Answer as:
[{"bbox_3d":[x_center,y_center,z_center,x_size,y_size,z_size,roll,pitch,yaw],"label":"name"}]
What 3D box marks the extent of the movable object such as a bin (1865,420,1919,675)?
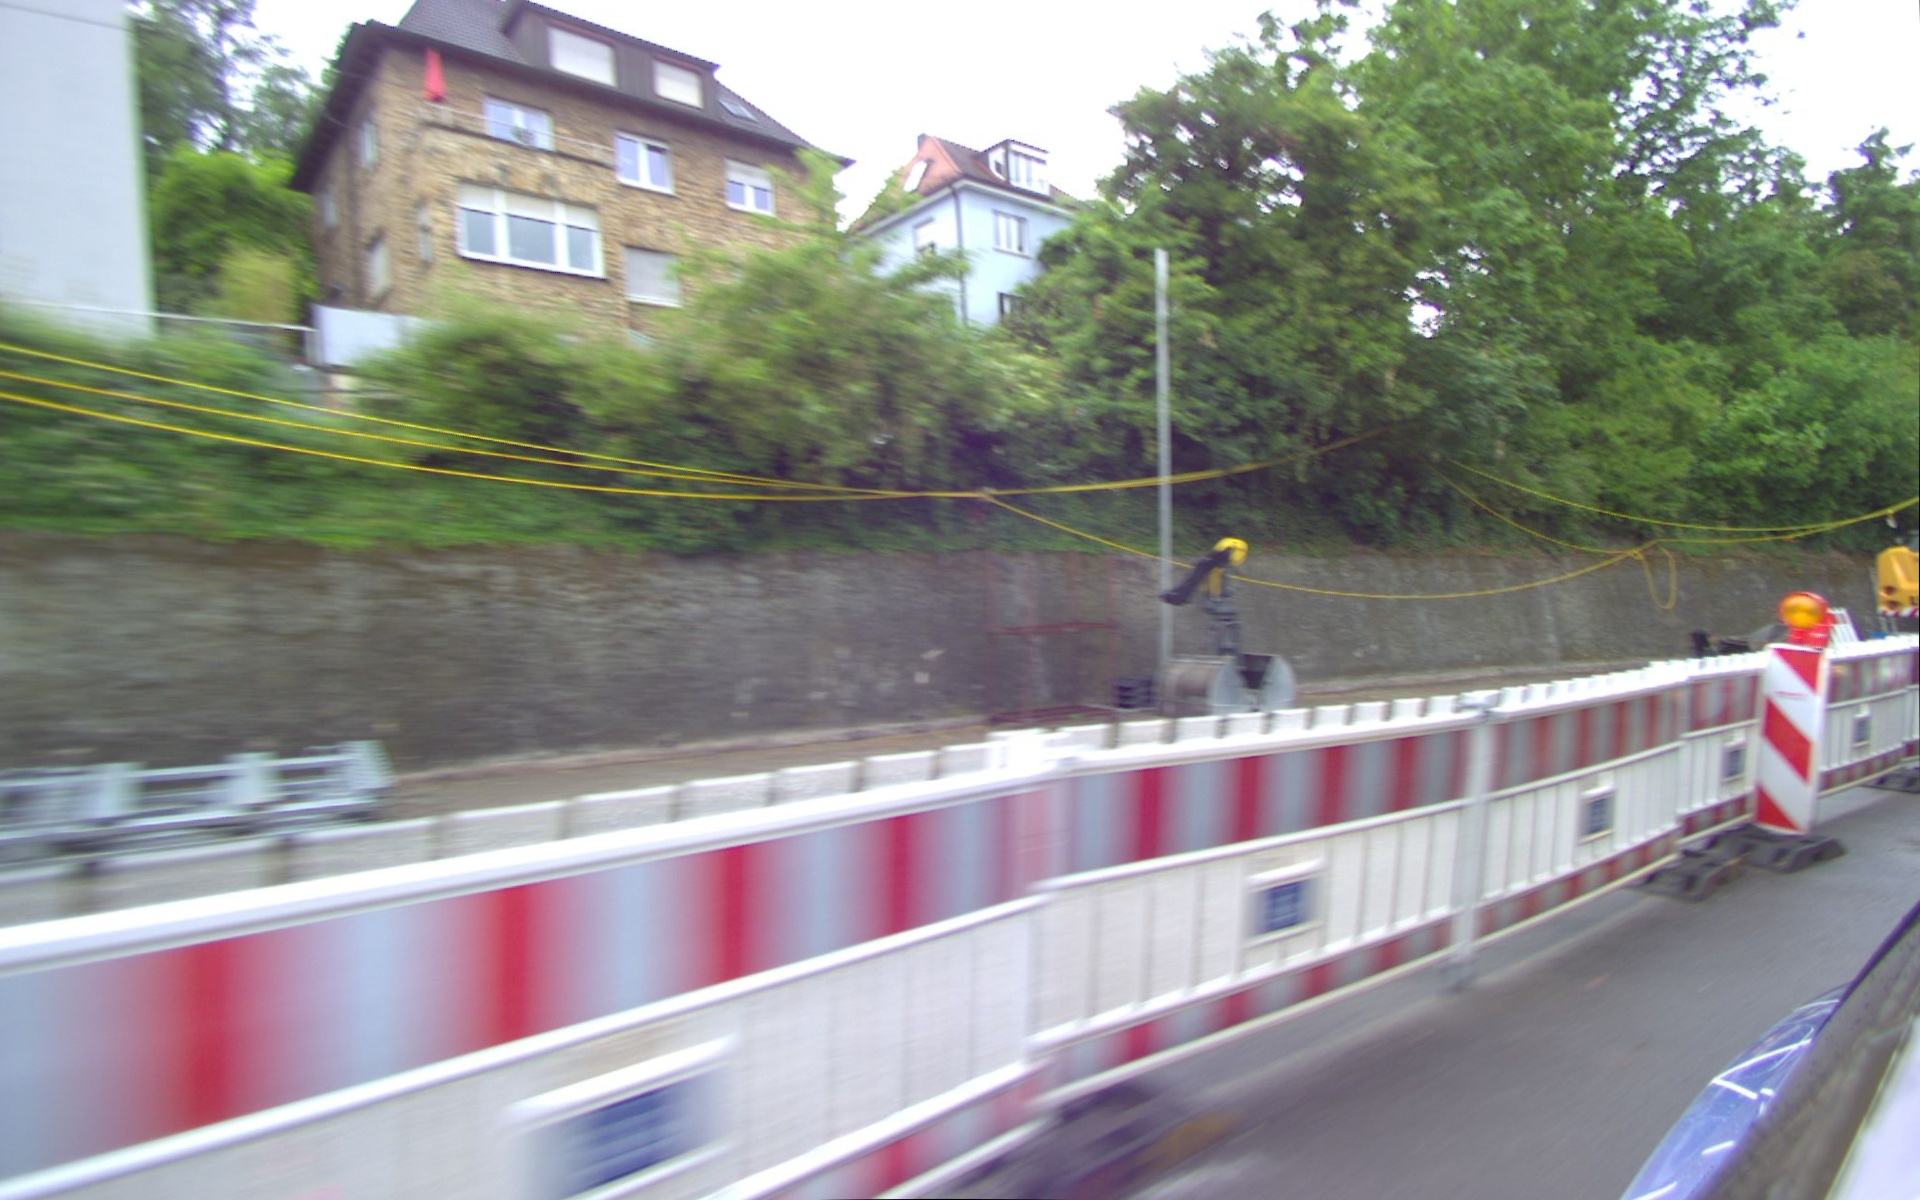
[{"bbox_3d":[18.956,-0.869,16.626,7.172,4.064,2.835,-1,2,-18],"label":"movable object such as a bin"}]
